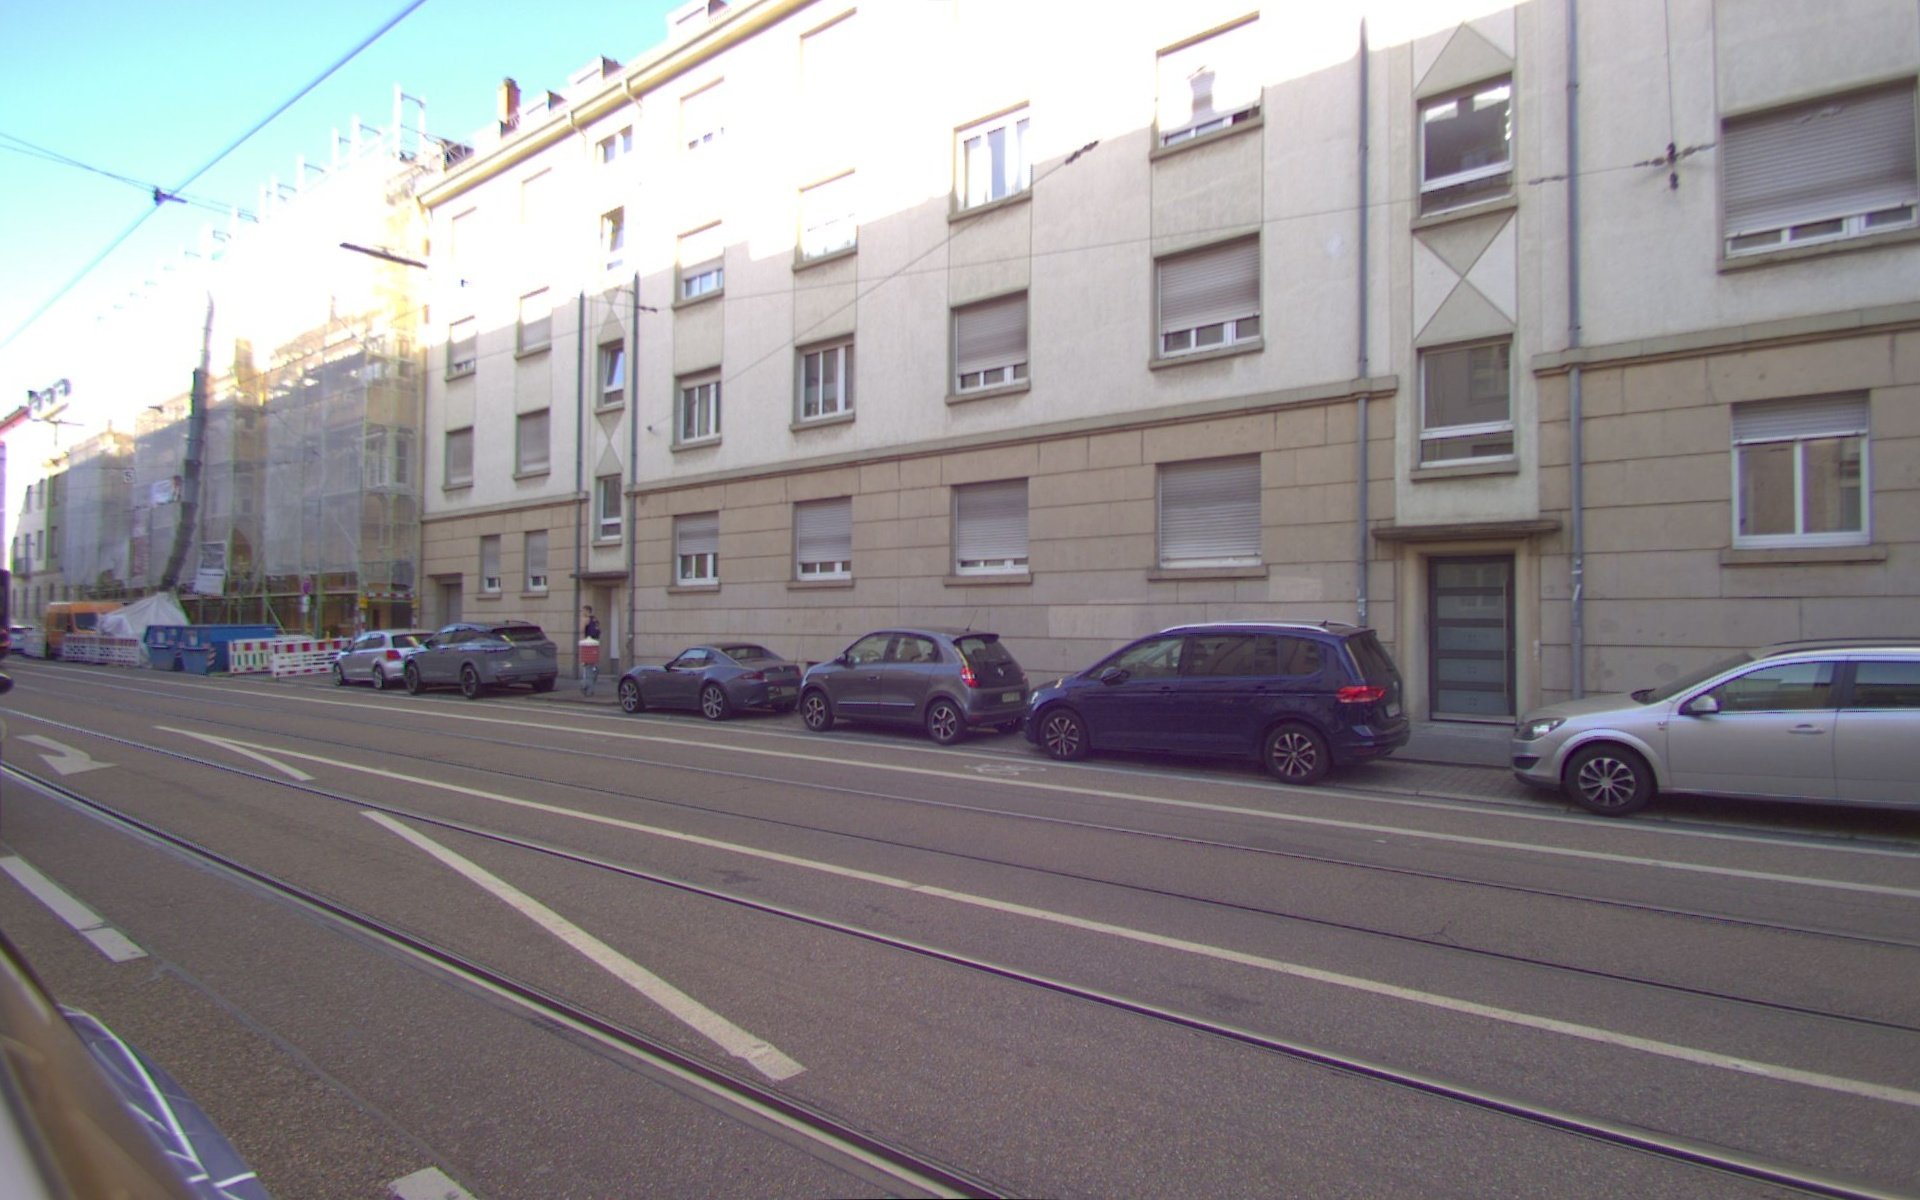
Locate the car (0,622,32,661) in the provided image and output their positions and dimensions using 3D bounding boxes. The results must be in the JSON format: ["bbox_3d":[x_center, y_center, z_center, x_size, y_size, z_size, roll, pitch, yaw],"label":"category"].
[{"bbox_3d":[-50.068,2.144,53.317,1.635,1.937,3.767,-1,0,-44],"label":"car"}]

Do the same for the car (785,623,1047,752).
[{"bbox_3d":[-0.691,1.150,14.633,3.591,1.570,1.624,-1,1,38],"label":"car"}]

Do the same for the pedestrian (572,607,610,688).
[{"bbox_3d":[-8.745,1.109,23.989,0.762,1.886,0.513,-1,0,38],"label":"pedestrian"}]

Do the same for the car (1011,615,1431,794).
[{"bbox_3d":[2.881,1.025,11.634,4.318,1.645,1.798,-1,1,37],"label":"car"}]

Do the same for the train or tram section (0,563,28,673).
[{"bbox_3d":[-36.926,0.621,36.408,13.024,3.589,2.832,-1,-2,38],"label":"train or tram section"}]

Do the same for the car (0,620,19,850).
[{"bbox_3d":[-7.954,0.883,6.961,3.814,1.436,1.705,-2,-3,40],"label":"car"}]

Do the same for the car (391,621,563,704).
[{"bbox_3d":[-10.848,1.316,22.630,4.152,1.621,1.731,-1,1,37],"label":"car"}]

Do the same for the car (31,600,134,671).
[{"bbox_3d":[-36.458,1.400,41.995,5.866,2.717,2.188,-1,0,39],"label":"car"}]

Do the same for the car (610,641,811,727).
[{"bbox_3d":[-4.342,1.379,17.448,3.518,1.229,1.458,-1,1,37],"label":"car"}]

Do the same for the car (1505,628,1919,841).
[{"bbox_3d":[7.112,1.019,8.396,4.363,1.465,1.709,-1,1,37],"label":"car"}]

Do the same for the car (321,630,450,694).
[{"bbox_3d":[-14.461,1.505,25.440,3.502,1.390,1.546,-1,1,37],"label":"car"}]
